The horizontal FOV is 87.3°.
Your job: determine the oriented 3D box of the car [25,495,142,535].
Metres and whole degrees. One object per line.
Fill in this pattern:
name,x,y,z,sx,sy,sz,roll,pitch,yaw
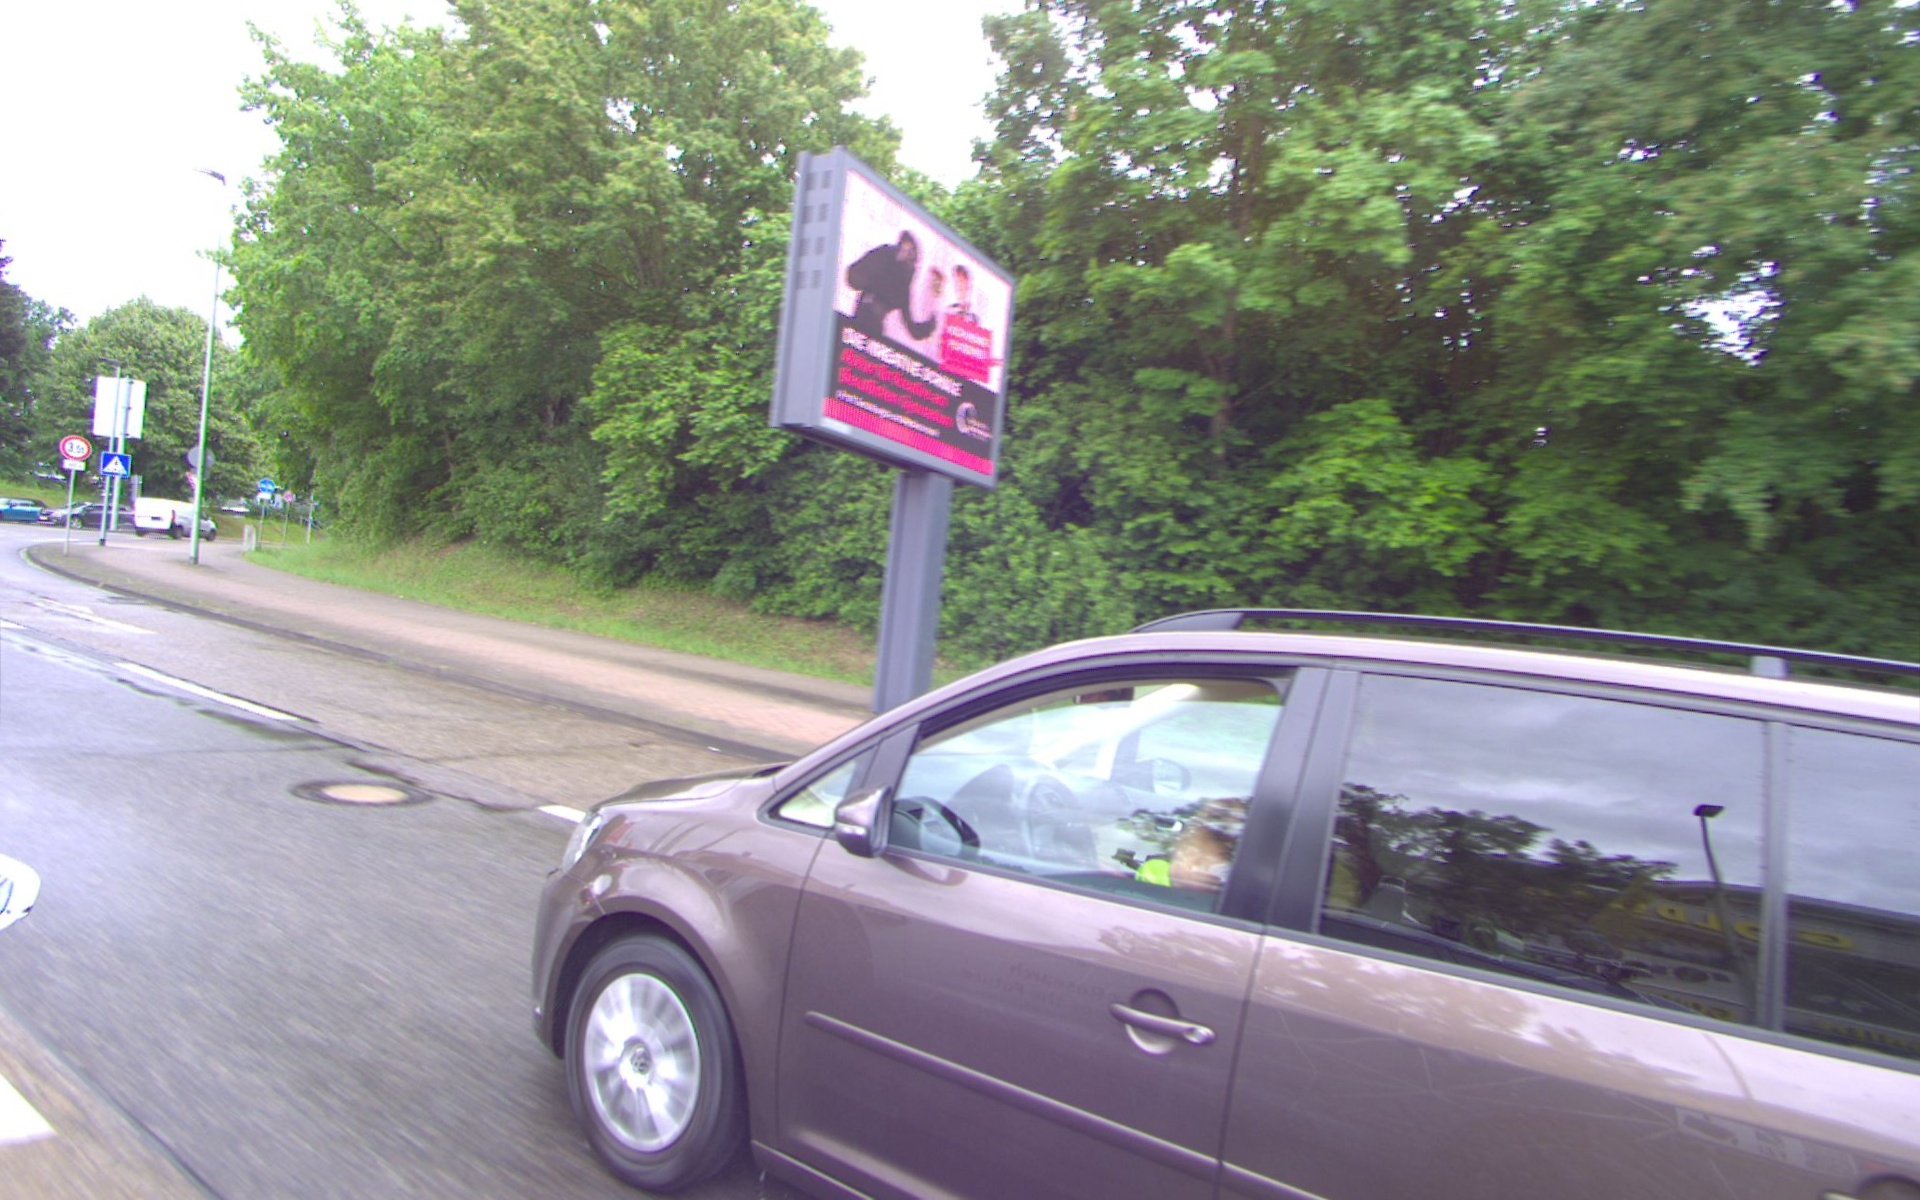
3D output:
car,-46.351,-4.489,53.334,1.864,1.485,4.331,7,0,14

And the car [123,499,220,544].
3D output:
car,-38.460,-3.793,49.185,1.788,1.729,3.940,7,1,-6

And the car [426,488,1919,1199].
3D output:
car,0.750,0.793,2.570,4.060,1.616,1.717,8,0,30

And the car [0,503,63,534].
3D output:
car,-49.683,-4.325,52.538,1.578,1.310,3.999,7,1,13
